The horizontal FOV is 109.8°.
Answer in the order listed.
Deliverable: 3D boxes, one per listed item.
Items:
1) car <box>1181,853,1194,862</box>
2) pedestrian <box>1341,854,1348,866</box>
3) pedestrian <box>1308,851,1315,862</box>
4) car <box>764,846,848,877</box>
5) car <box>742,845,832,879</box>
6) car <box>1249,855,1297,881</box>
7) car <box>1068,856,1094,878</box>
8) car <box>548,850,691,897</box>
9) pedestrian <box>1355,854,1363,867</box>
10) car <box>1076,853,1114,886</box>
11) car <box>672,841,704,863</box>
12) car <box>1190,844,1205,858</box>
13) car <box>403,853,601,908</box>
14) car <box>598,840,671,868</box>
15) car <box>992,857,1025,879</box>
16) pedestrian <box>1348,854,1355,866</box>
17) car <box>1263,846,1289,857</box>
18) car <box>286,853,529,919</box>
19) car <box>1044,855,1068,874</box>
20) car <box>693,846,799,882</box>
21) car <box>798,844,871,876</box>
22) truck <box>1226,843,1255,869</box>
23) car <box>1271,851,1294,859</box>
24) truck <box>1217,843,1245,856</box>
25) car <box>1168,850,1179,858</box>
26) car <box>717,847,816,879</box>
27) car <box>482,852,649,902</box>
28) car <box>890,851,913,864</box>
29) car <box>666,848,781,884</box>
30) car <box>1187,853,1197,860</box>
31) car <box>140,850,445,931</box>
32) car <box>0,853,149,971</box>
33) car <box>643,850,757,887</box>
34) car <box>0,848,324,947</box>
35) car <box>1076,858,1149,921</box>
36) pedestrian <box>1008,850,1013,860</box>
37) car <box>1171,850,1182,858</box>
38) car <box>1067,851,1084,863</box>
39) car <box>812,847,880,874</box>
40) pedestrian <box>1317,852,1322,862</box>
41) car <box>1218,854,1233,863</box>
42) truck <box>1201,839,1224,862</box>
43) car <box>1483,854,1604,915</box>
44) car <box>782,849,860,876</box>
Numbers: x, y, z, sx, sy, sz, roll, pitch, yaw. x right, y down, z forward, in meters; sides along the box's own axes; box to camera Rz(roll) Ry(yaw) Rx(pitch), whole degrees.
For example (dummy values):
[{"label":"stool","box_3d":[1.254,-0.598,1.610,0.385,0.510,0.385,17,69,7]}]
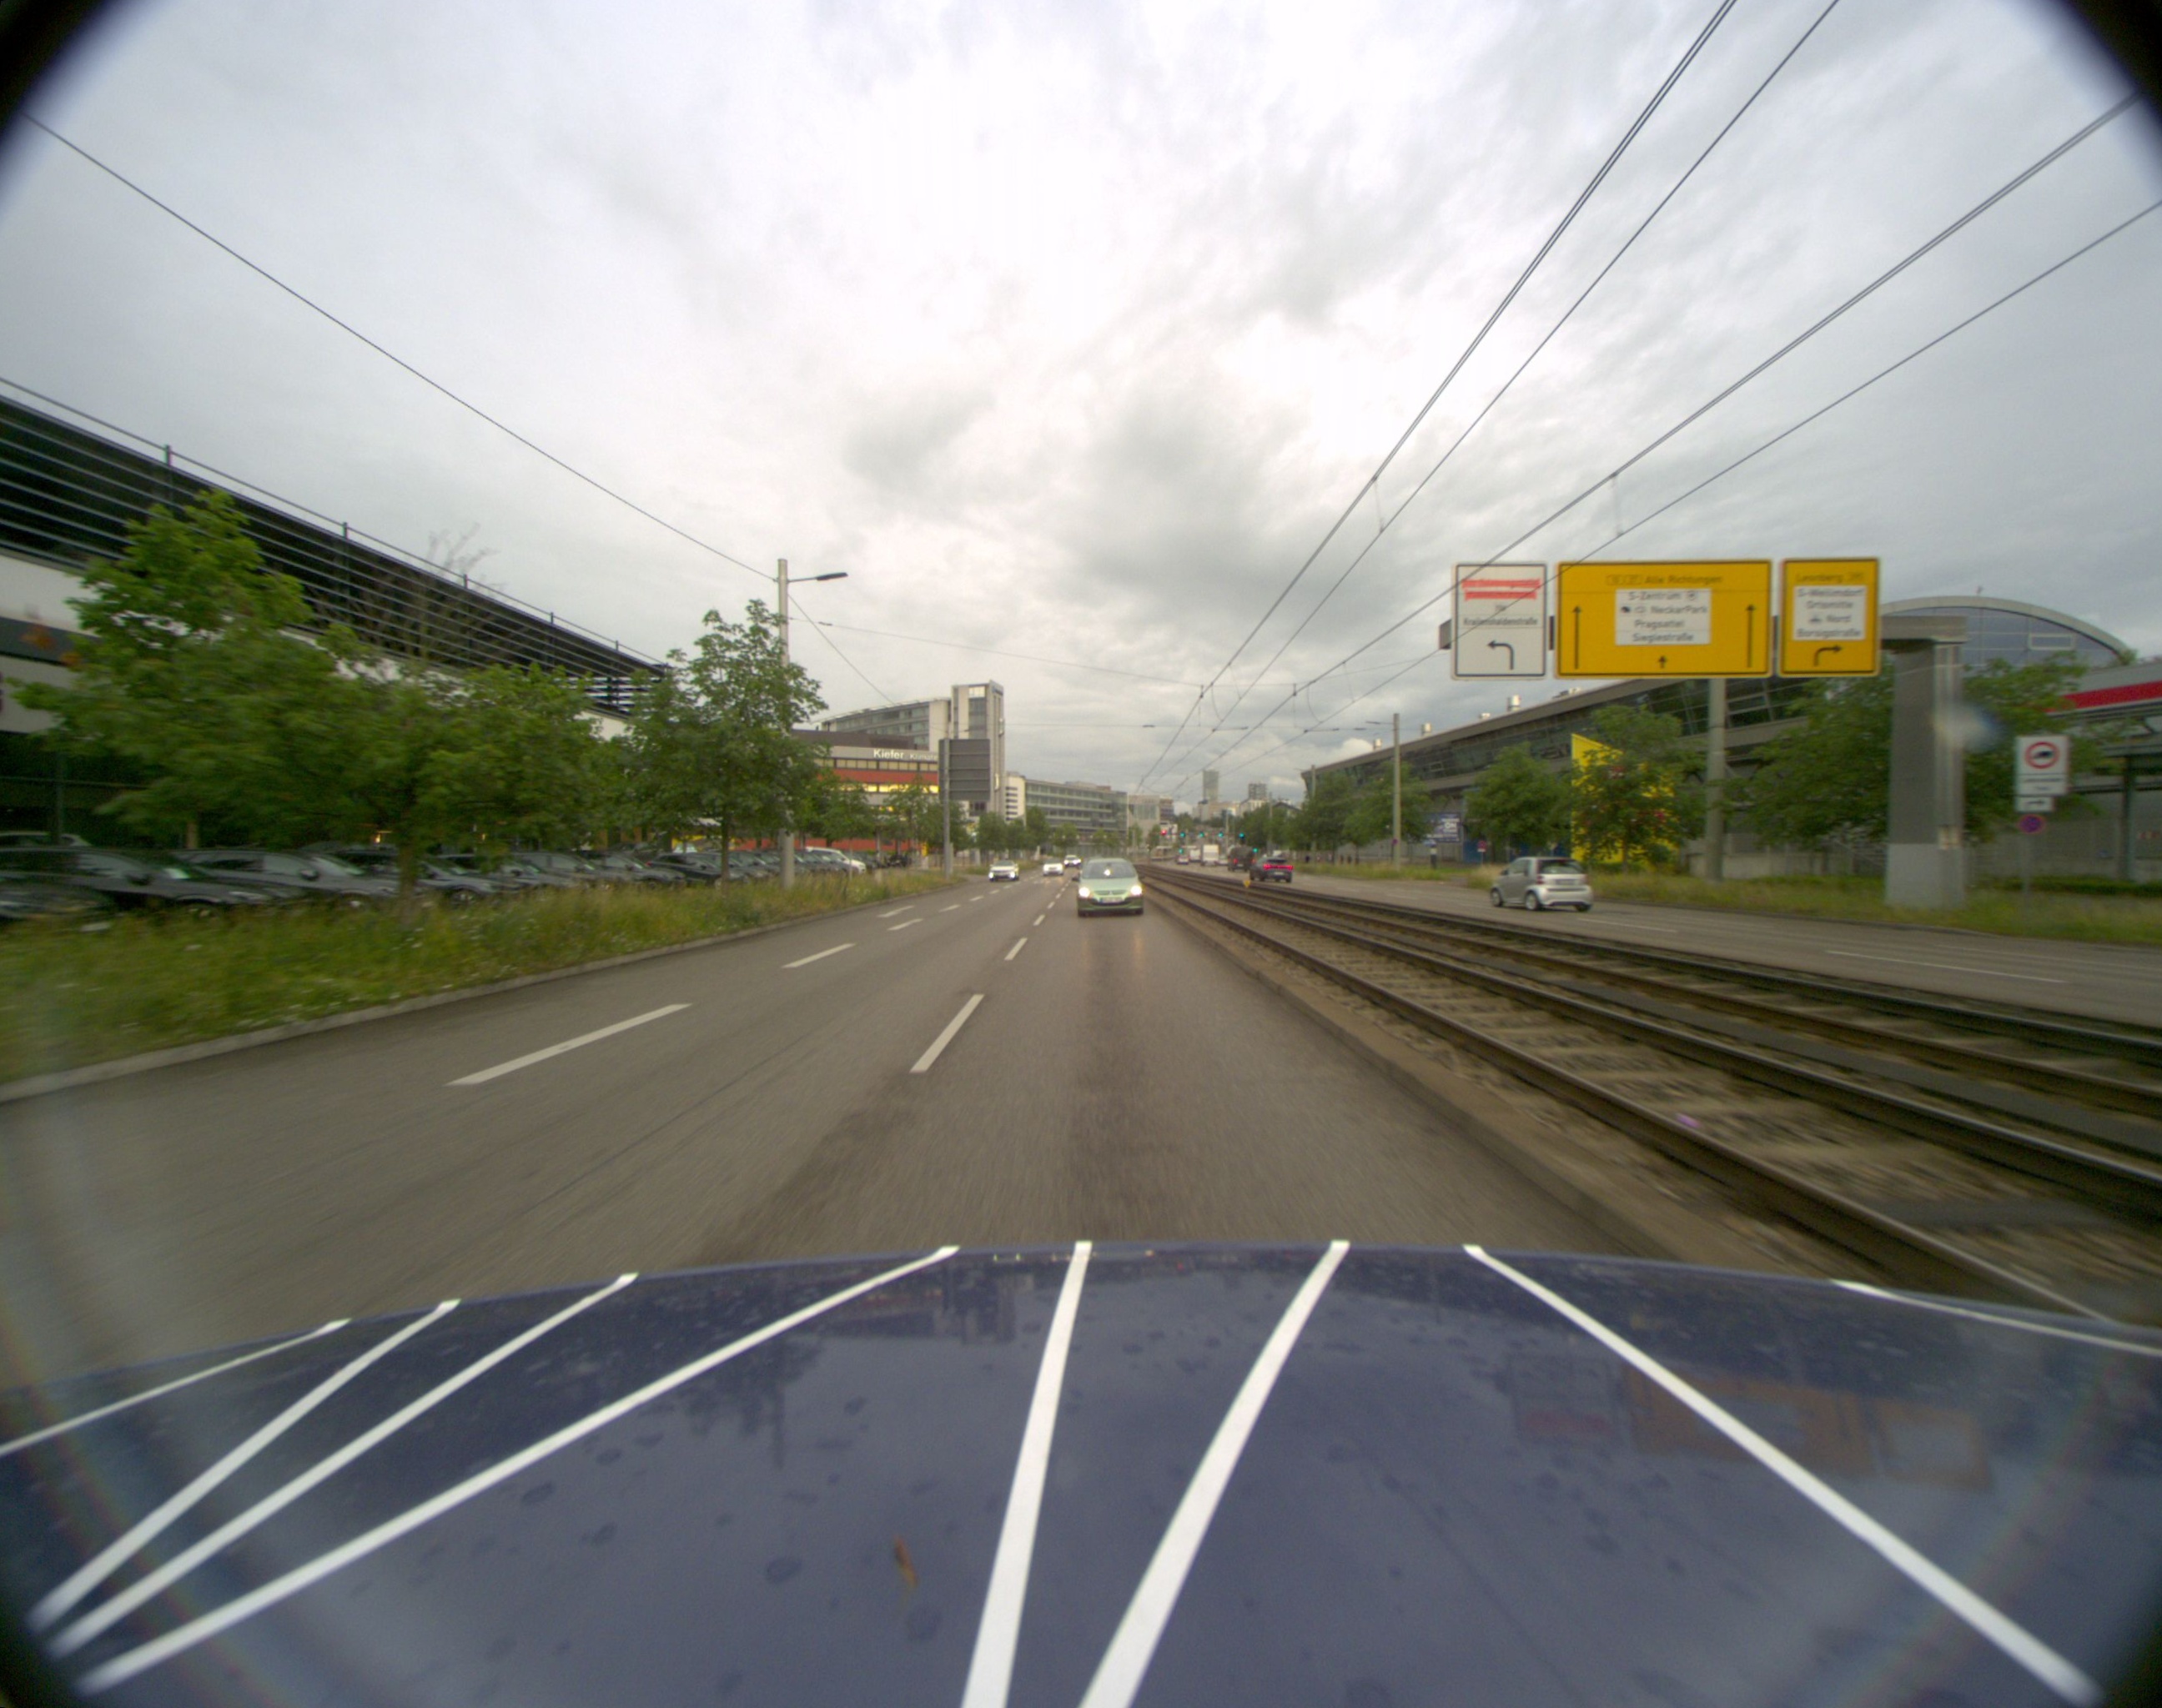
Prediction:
[{"label":"car","box_3d":[17.841,0.561,127.446,1.810,1.490,4.442,2,0,2]},{"label":"pedestrian","box_3d":[31.949,0.725,92.205,0.512,1.447,0.653,-3,1,-9]},{"label":"pedestrian","box_3d":[32.038,0.363,105.453,0.684,1.554,0.627,-3,1,1]},{"label":"car","box_3d":[-16.520,0.437,45.789,4.501,1.742,1.819,1,1,-12]},{"label":"car","box_3d":[-16.543,0.455,42.999,4.501,1.785,1.819,1,1,-12]},{"label":"car","box_3d":[11.157,0.800,44.399,1.807,1.420,4.236,1,0,1]},{"label":"car","box_3d":[-0.039,0.940,57.037,1.762,1.535,3.713,-3,0,-1]},{"label":"car","box_3d":[-16.412,0.702,27.250,4.061,1.567,1.730,1,0,-19]},{"label":"pedestrian","box_3d":[32.193,0.745,88.028,0.609,1.431,0.745,-3,1,-3]},{"label":"car","box_3d":[0.765,0.777,39.272,1.762,1.535,3.714,-3,0,3]},{"label":"car","box_3d":[-30.180,-0.143,58.345,1.848,1.634,4.305,0,-1,-32]},{"label":"car","box_3d":[22.630,-0.594,147.656,2.438,2.486,6.550,1,0,5]},{"label":"car","box_3d":[-16.504,0.753,21.906,4.156,1.450,1.791,1,0,-19]},{"label":"car","box_3d":[-24.920,0.002,42.544,1.784,1.464,3.899,0,0,0]},{"label":"car","box_3d":[-5.199,0.993,54.770,1.878,1.485,3.837,-1,0,2]},{"label":"pedestrian","box_3d":[32.738,0.688,91.933,0.452,1.447,0.653,-3,1,-9]},{"label":"car","box_3d":[41.273,-0.444,160.960,5.065,2.318,1.998,0,0,-11]},{"label":"car","box_3d":[-16.690,0.784,19.103,4.156,1.519,1.828,1,0,-19]},{"label":"car","box_3d":[-2.151,0.867,66.485,1.818,1.584,3.836,0,0,2]},{"label":"car","box_3d":[-16.564,0.489,37.782,4.501,1.653,1.819,1,0,-10]},{"label":"car","box_3d":[-16.430,0.400,50.794,4.503,1.980,1.818,1,1,-17]},{"label":"truck","box_3d":[16.331,0.195,78.099,2.243,2.550,7.017,0,0,6]},{"label":"car","box_3d":[41.399,0.226,156.312,4.253,1.705,1.912,0,0,-6]},{"label":"truck","box_3d":[43.816,-1.368,221.507,4.081,3.734,10.876,0,0,33]},{"label":"car","box_3d":[20.733,0.098,169.893,1.998,1.721,4.679,1,0,2]},{"label":"car","box_3d":[-16.617,0.475,40.282,4.500,1.610,1.820,1,0,-8]},{"label":"car","box_3d":[-16.591,0.739,24.706,4.156,1.525,1.791,1,0,-19]},{"label":"car","box_3d":[-21.209,0.404,90.050,1.784,1.410,3.782,1,0,1]},{"label":"car","box_3d":[-16.447,0.560,35.151,4.501,1.560,1.819,1,0,-10]},{"label":"car","box_3d":[25.064,0.564,171.511,1.944,1.661,4.510,1,0,4]},{"label":"car","box_3d":[-16.765,0.751,16.459,4.156,1.560,1.906,1,0,-19]},{"label":"car","box_3d":[-16.701,0.782,10.682,4.158,1.595,1.823,1,0,-24]},{"label":"car","box_3d":[-16.284,0.625,32.651,4.058,1.493,1.685,1,0,-10]},{"label":"car","box_3d":[-16.691,0.726,13.524,4.158,1.560,1.823,1,0,-24]},{"label":"car","box_3d":[0.817,0.894,20.988,1.762,1.489,4.137,-2,0,1]},{"label":"pedestrian","box_3d":[-12.931,0.153,139.552,0.683,1.889,0.677,-3,1,-21]},{"label":"car","box_3d":[19.693,-0.042,157.228,1.913,1.647,4.362,2,0,4]},{"label":"car","box_3d":[-0.795,0.437,106.323,1.889,1.584,3.983,-1,0,7]},{"label":"car","box_3d":[-16.441,0.464,53.337,4.392,1.779,1.876,1,1,-13]},{"label":"pedestrian","box_3d":[34.434,0.407,109.765,0.549,1.489,0.758,-3,1,4]},{"label":"car","box_3d":[23.579,0.716,124.088,1.901,1.480,4.425,0,0,5]},{"label":"truck","box_3d":[19.963,-0.588,115.947,2.733,3.339,7.153,2,2,5]},{"label":"car","box_3d":[13.233,0.822,21.926,1.602,1.528,2.950,2,1,-1]},{"label":"car","box_3d":[-16.440,0.541,48.265,4.502,1.628,1.819,1,0,-13]}]
